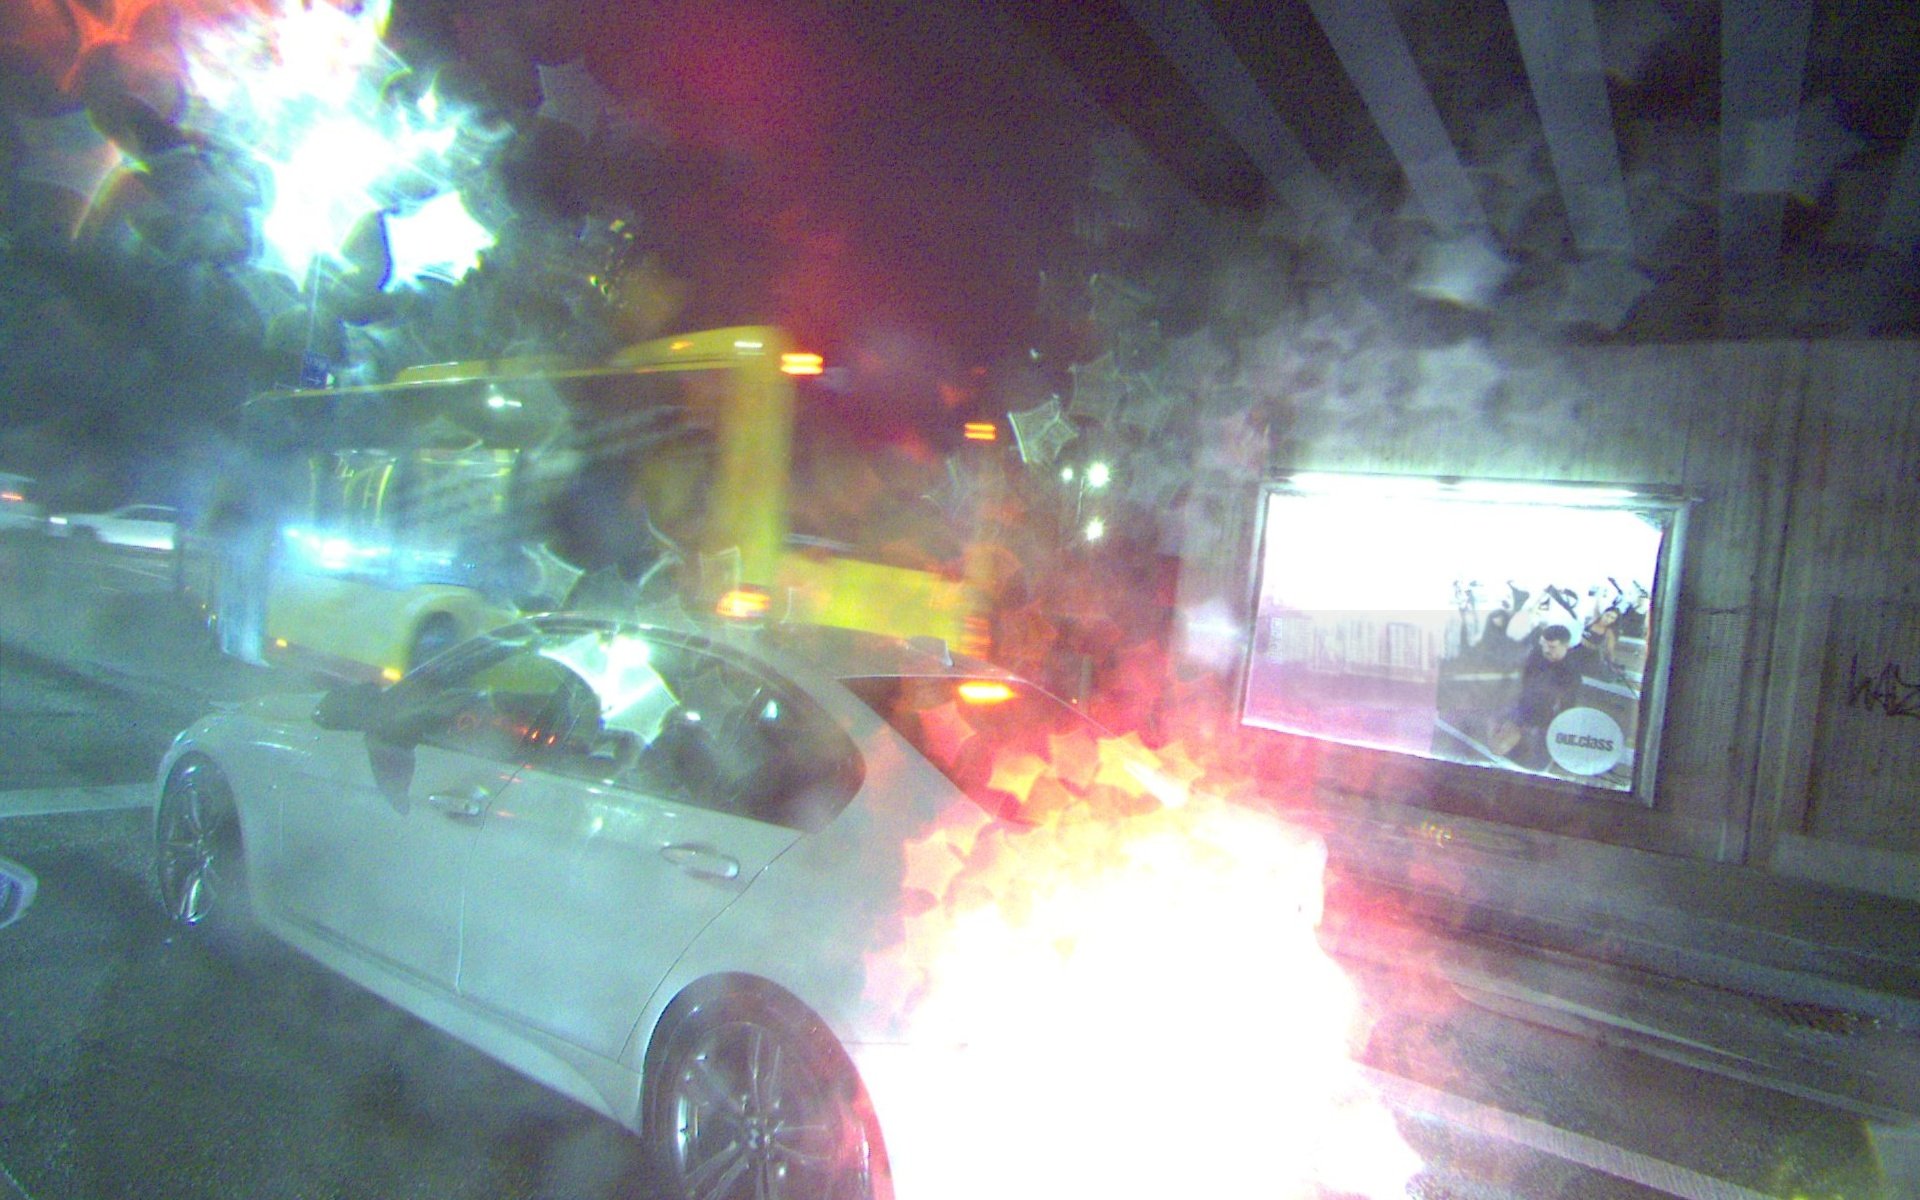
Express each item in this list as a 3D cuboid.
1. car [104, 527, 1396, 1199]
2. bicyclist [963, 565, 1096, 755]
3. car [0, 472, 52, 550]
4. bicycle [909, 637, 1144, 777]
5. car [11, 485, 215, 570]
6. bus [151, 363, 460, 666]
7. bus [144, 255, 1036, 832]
[{"bbox_3d":[-0.977,0.703,3.504,4.277,1.420,1.720,6,-2,32],"label":"car"},{"bbox_3d":[0.719,0.609,10.270,0.886,1.783,0.798,6,-1,32],"label":"bicyclist"},{"bbox_3d":[-26.415,-2.574,25.473,4.573,1.896,1.785,9,-2,-27],"label":"car"},{"bbox_3d":[0.656,1.061,10.295,2.171,1.070,0.798,6,-2,32],"label":"bicycle"},{"bbox_3d":[-24.991,-2.089,29.893,4.397,1.698,1.777,9,-2,-39],"label":"car"},{"bbox_3d":[-10.719,-1.206,15.806,2.758,3.160,9.655,9,-2,-39],"label":"bus"},{"bbox_3d":[-4.247,-0.613,9.456,9.612,3.160,2.771,7,-1,37],"label":"bus"}]
